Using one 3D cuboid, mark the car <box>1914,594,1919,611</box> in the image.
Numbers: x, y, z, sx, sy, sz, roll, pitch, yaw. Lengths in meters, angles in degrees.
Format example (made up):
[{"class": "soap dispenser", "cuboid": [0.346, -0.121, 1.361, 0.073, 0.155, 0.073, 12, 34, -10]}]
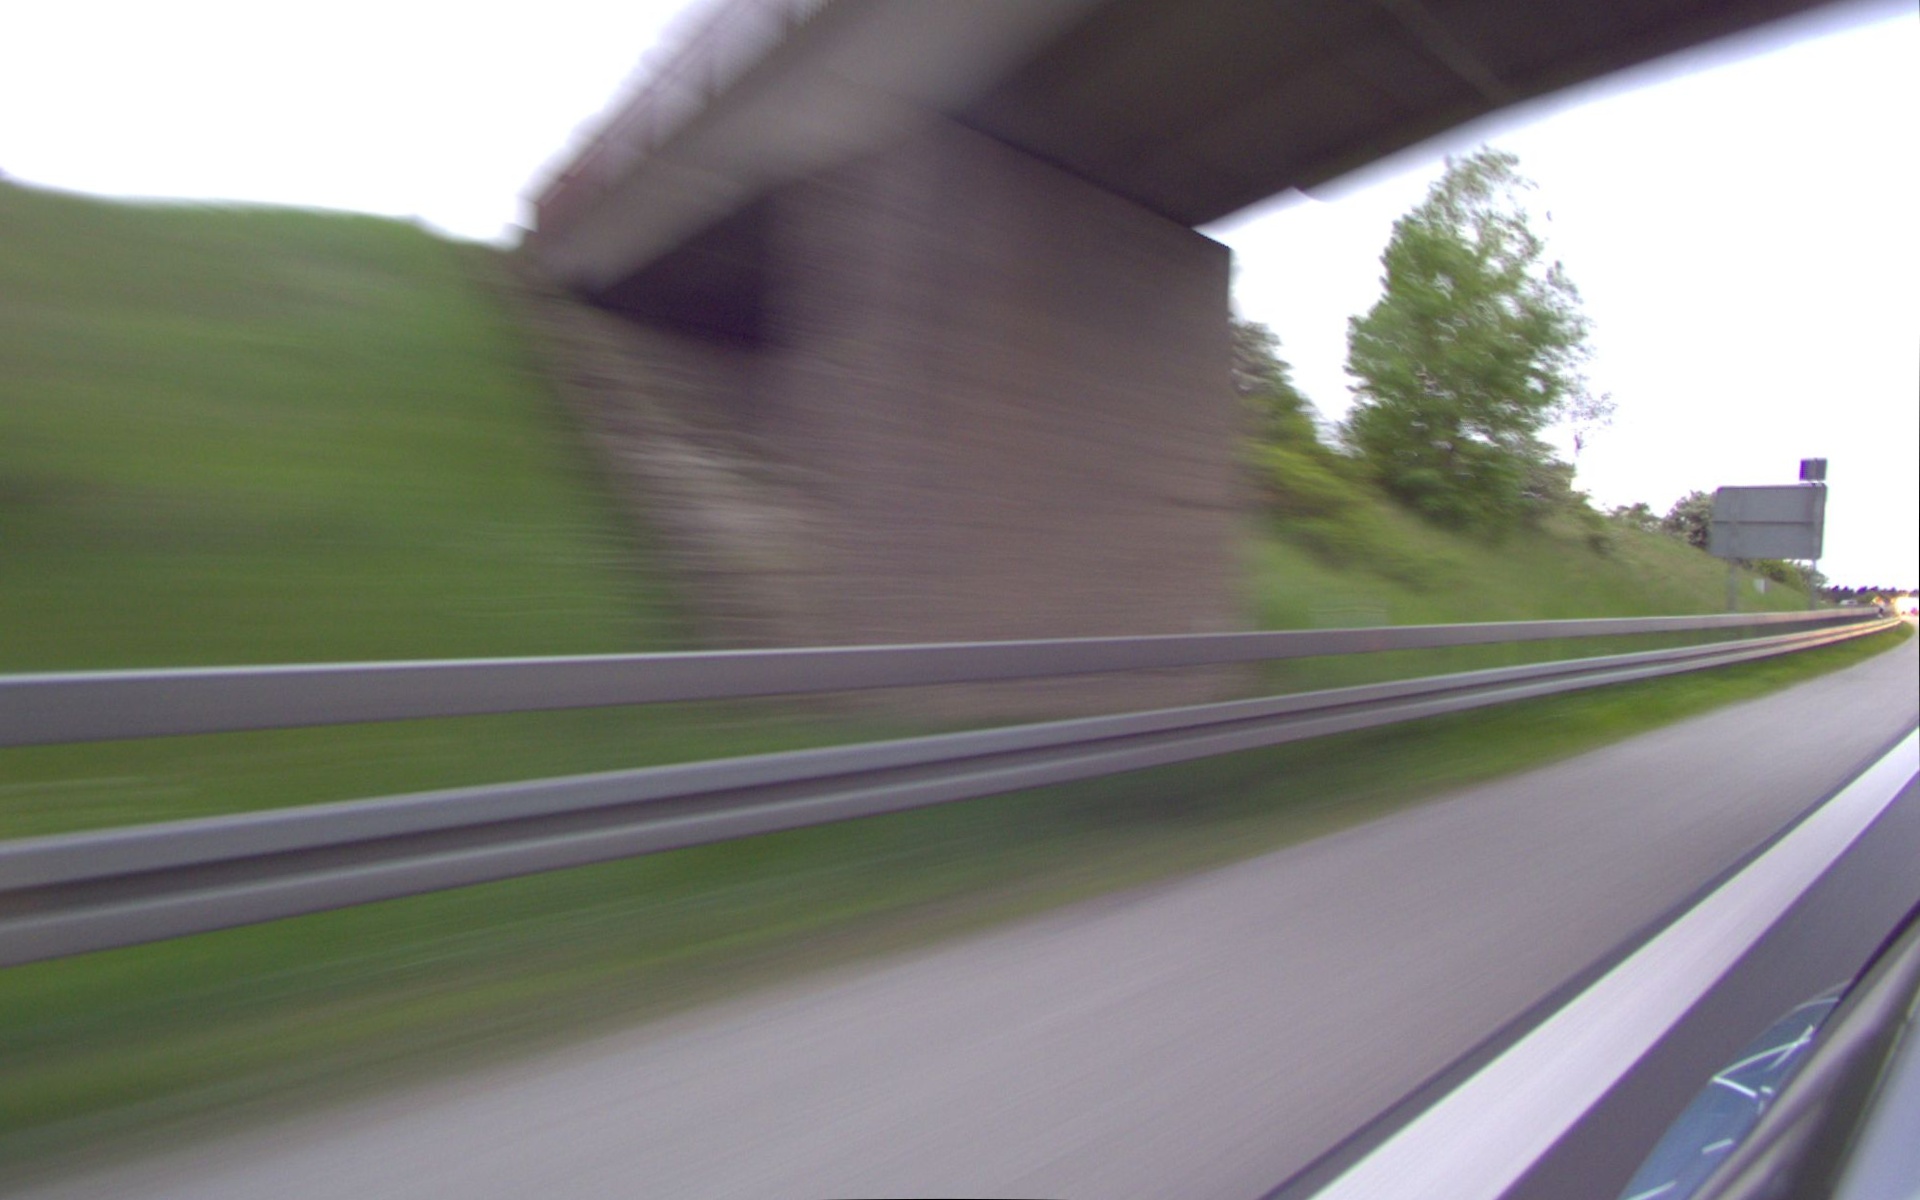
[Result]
[{"class": "car", "cuboid": [103.944, 0.320, 108.680, 1.913, 1.860, 3.940, 3, 2, 41]}]
